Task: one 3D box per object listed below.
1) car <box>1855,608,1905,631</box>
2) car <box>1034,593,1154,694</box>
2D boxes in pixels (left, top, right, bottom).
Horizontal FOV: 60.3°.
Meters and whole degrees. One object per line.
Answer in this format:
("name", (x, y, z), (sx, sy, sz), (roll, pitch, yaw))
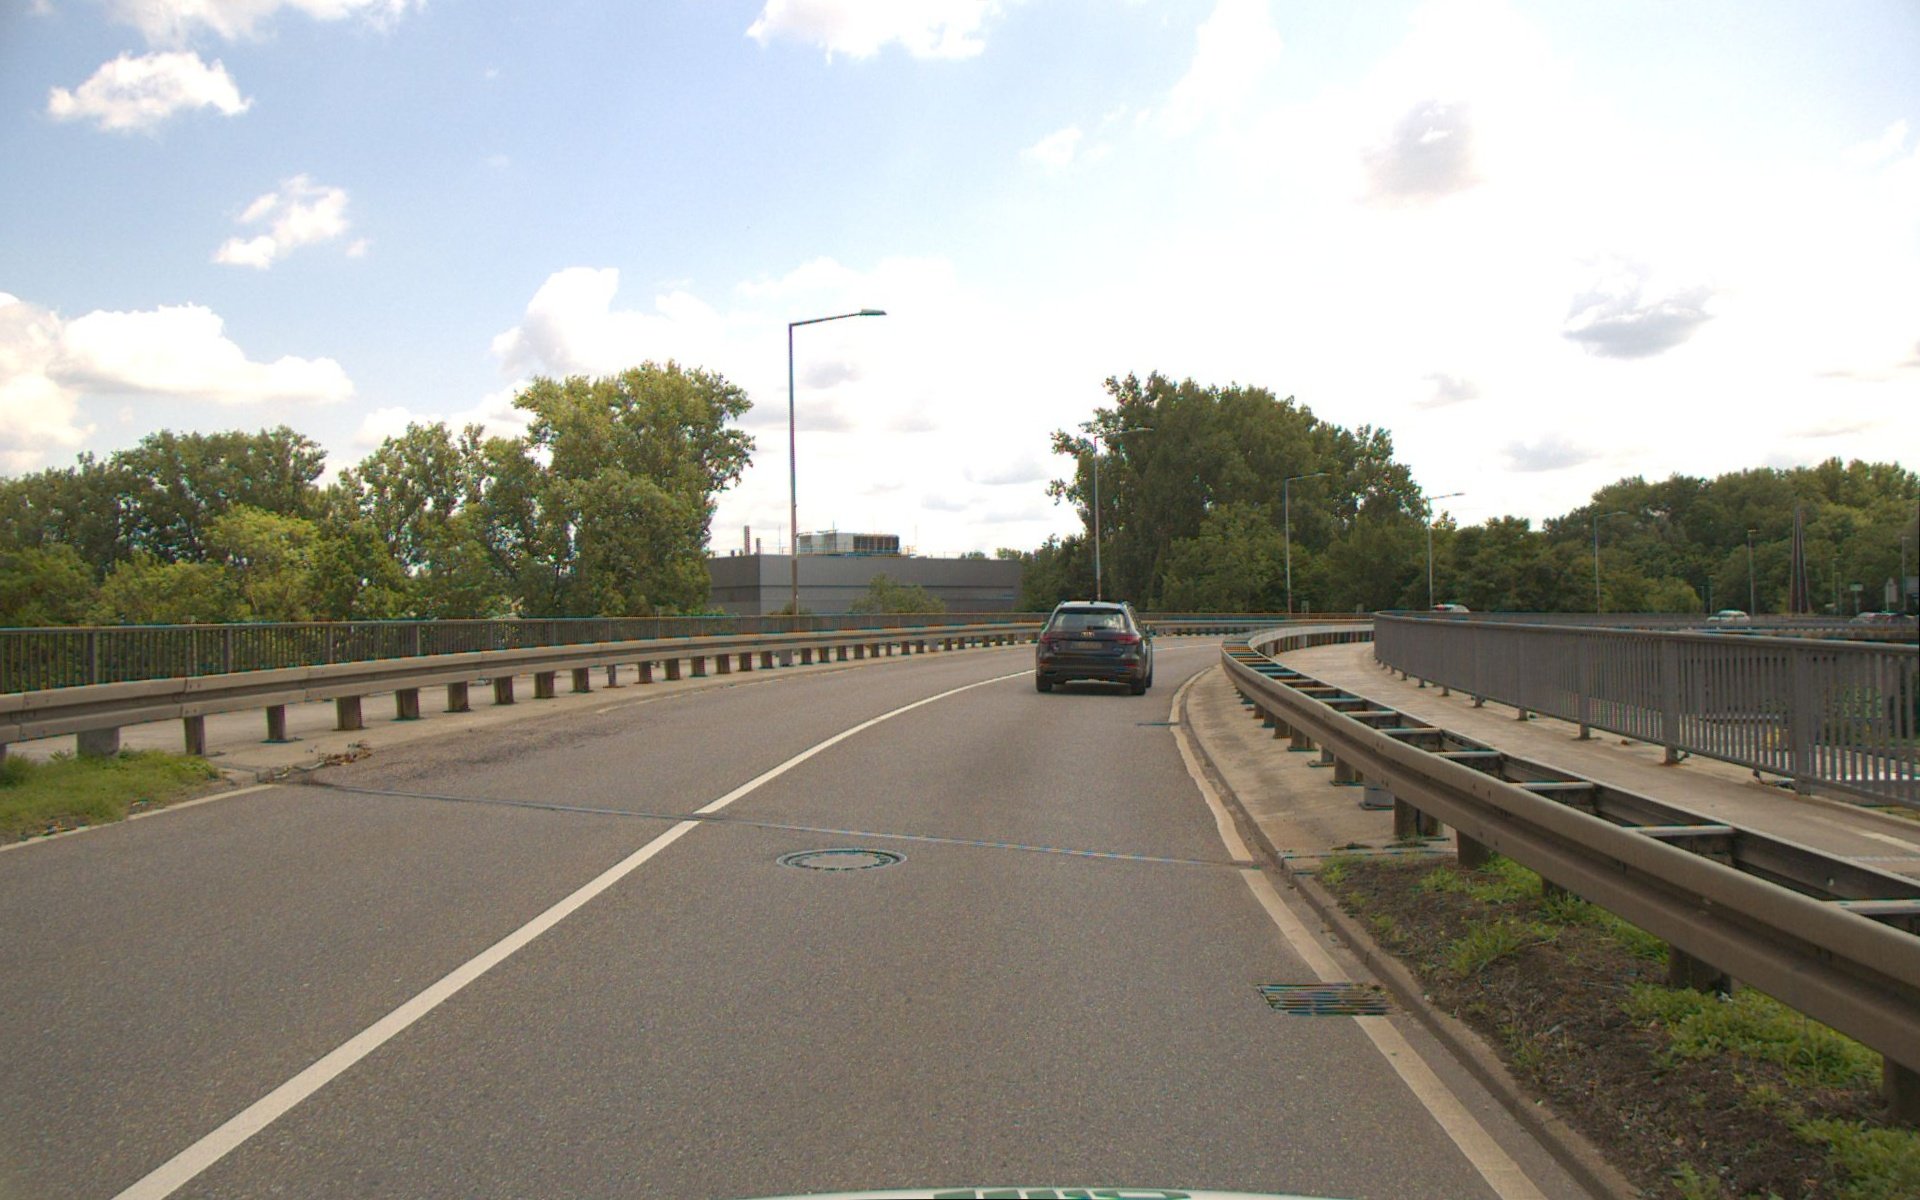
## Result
("car", (72.902, 1.553, 131.036), (3.800, 1.680, 1.723), (1, 0, -29))
("car", (2.289, 0.661, 27.387), (1.789, 1.518, 4.210), (1, 0, 7))
